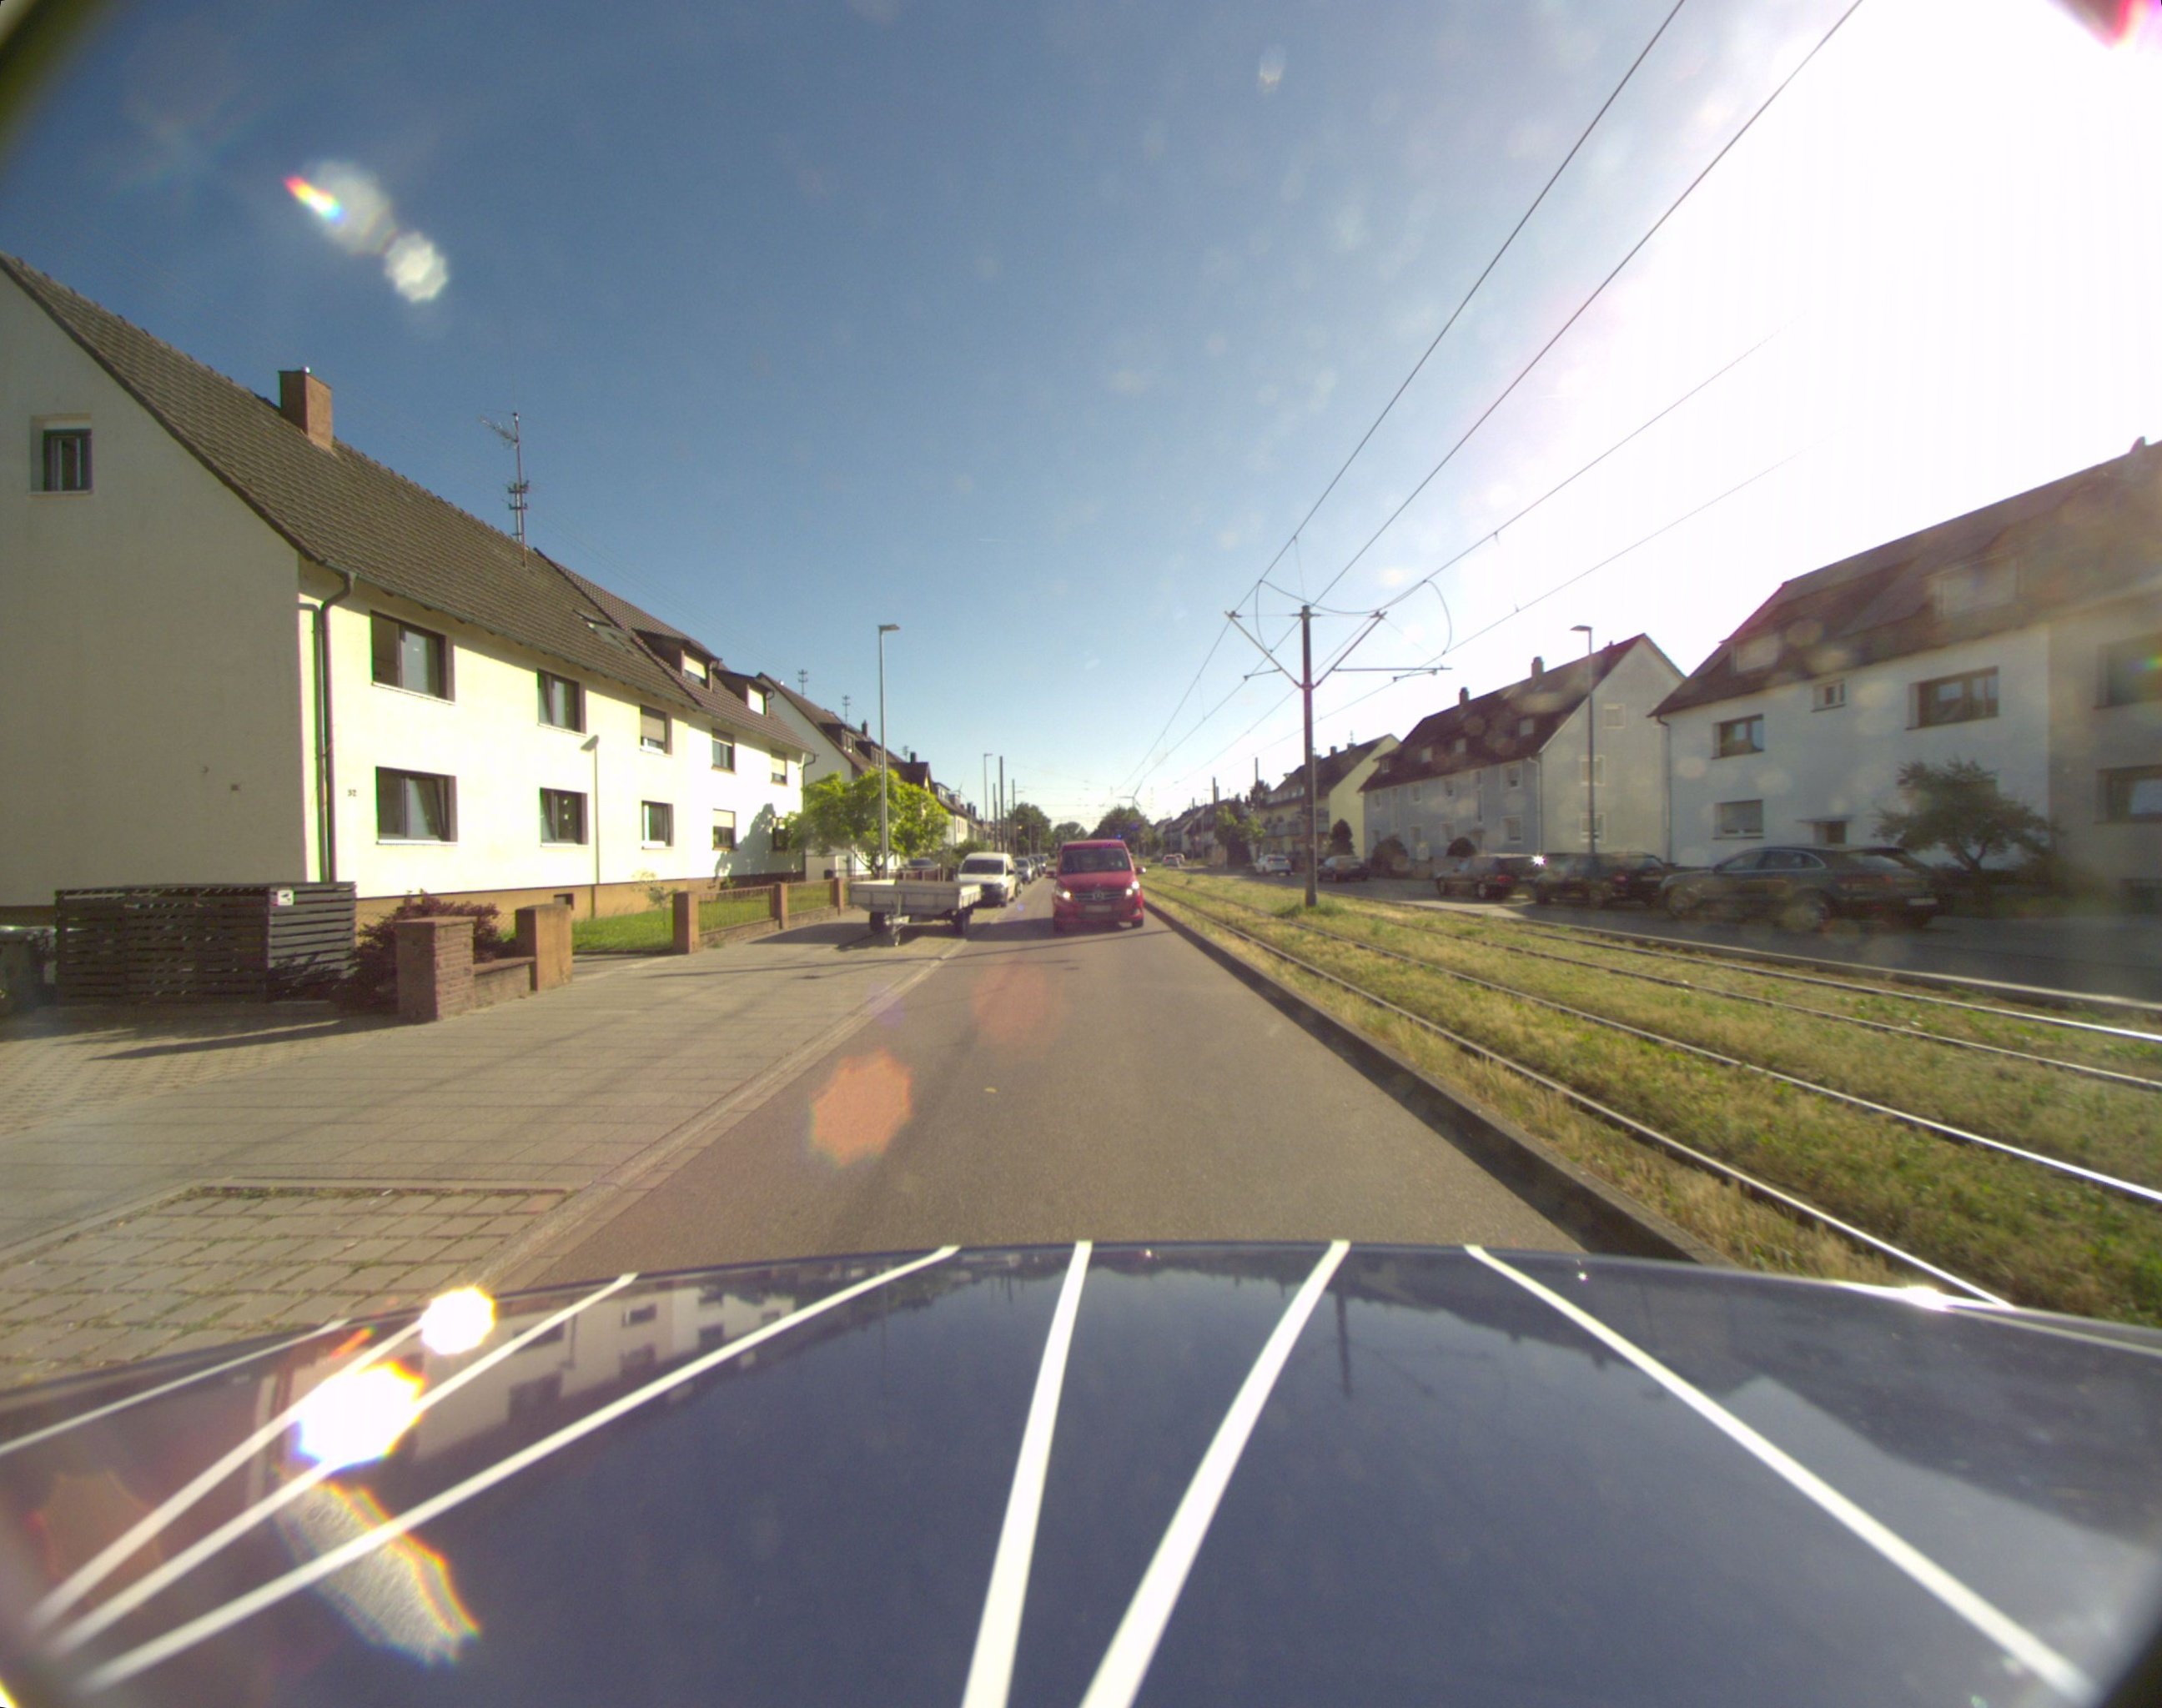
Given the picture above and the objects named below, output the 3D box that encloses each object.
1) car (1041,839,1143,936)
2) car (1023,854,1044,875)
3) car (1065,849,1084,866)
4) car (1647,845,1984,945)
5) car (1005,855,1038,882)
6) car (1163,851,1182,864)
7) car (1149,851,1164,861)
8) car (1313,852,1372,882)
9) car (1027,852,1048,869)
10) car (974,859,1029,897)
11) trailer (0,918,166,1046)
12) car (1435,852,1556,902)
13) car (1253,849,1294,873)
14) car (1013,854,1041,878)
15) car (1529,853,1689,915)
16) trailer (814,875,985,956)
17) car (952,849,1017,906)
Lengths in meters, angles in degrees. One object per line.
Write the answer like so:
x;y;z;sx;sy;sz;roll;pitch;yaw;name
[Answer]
0.245;0.645;17.971;1.998;1.889;5.390;-2;1;1;car
-3.811;0.816;61.121;1.524;1.571;4.583;1;0;-2;car
-0.685;0.330;76.403;1.862;1.592;4.327;1;1;-2;car
13.928;0.650;14.964;1.925;1.551;4.858;-3;1;0;car
-3.462;0.814;44.701;1.682;1.472;4.388;1;1;-2;car
10.746;0.407;89.531;1.704;1.455;4.092;-3;1;0;car
12.690;0.346;127.499;2.016;1.561;4.092;-3;1;0;car
13.780;0.640;40.218;1.704;1.389;4.092;-3;1;0;car
-4.184;0.615;74.071;1.862;1.592;4.583;1;1;-2;car
-3.326;0.982;32.580;1.828;1.461;4.441;-1;0;0;car
-13.391;1.385;7.966;5.132;1.149;2.135;-1;1;2;trailer
13.750;0.694;25.546;1.658;1.447;4.400;-3;1;0;car
13.453;0.445;53.324;1.831;1.522;4.092;-3;1;0;car
-3.567;0.769;50.623;1.632;1.460;4.480;1;0;-2;car
13.815;0.724;20.180;1.469;1.459;3.999;-1;0;0;car
-3.435;1.124;15.954;2.278;1.124;6.434;1;0;-2;trailer
-3.246;0.728;26.320;1.796;1.752;4.583;1;0;-2;car
